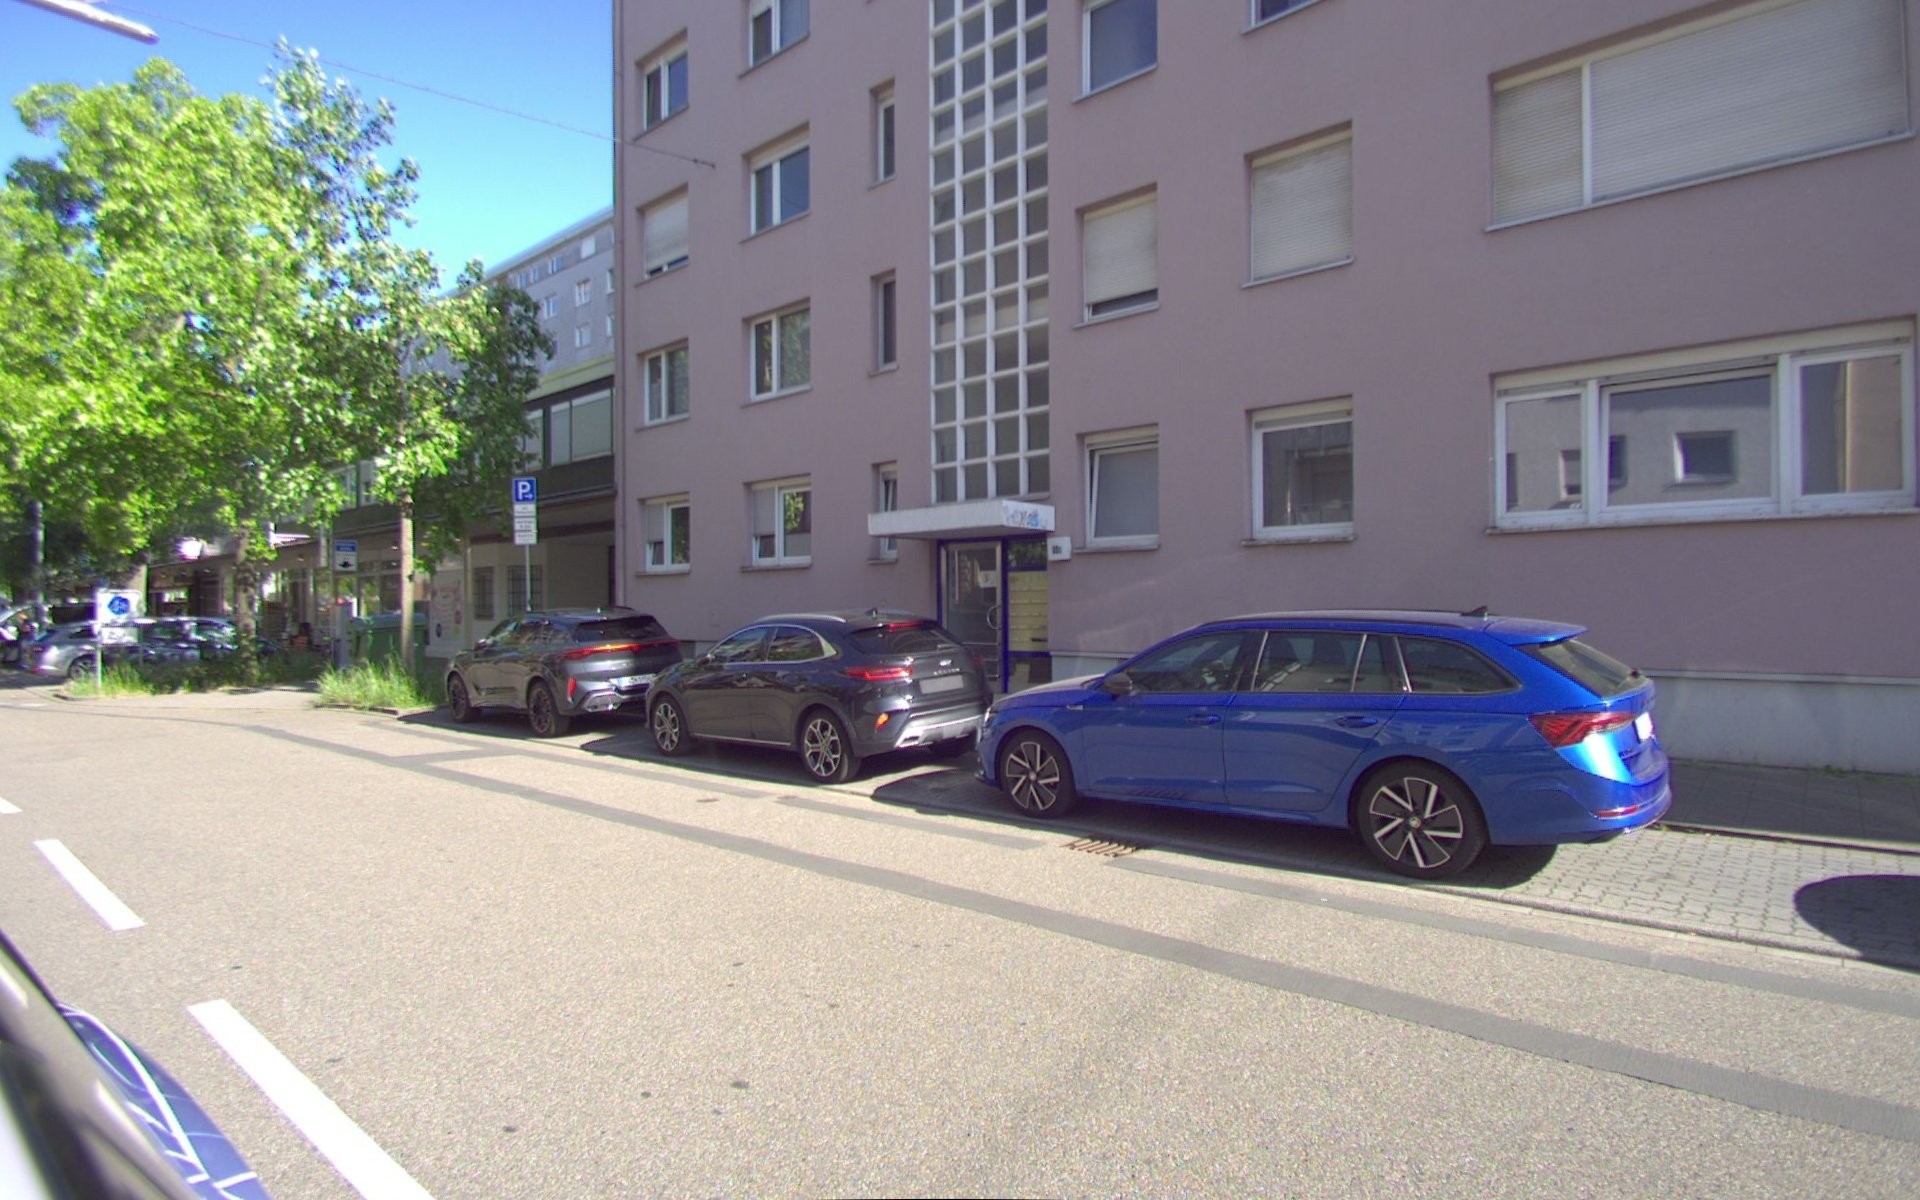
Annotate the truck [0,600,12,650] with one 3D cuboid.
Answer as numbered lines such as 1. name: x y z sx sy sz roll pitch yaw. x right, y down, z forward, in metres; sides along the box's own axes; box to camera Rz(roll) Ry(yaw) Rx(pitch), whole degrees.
1. truck: -51.833 1.303 51.245 1.993 2.615 5.266 -1 -1 31

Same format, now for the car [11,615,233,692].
1. car: -20.480 1.246 24.837 1.999 1.687 3.945 -1 -1 41

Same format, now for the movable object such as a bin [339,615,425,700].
1. movable object such as a bin: -11.096 1.075 19.420 1.230 1.557 1.019 0 -1 -44

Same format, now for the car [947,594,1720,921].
1. car: 2.205 0.774 6.876 4.610 1.476 1.700 -1 1 41

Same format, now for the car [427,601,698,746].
1. car: -5.585 0.897 13.965 4.141 1.604 1.798 -1 2 43

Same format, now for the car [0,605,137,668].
1. car: -30.769 1.201 34.519 1.999 2.047 3.945 -1 -1 41

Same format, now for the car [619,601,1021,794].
1. car: -1.596 0.840 10.432 4.245 1.519 1.798 -1 1 43
